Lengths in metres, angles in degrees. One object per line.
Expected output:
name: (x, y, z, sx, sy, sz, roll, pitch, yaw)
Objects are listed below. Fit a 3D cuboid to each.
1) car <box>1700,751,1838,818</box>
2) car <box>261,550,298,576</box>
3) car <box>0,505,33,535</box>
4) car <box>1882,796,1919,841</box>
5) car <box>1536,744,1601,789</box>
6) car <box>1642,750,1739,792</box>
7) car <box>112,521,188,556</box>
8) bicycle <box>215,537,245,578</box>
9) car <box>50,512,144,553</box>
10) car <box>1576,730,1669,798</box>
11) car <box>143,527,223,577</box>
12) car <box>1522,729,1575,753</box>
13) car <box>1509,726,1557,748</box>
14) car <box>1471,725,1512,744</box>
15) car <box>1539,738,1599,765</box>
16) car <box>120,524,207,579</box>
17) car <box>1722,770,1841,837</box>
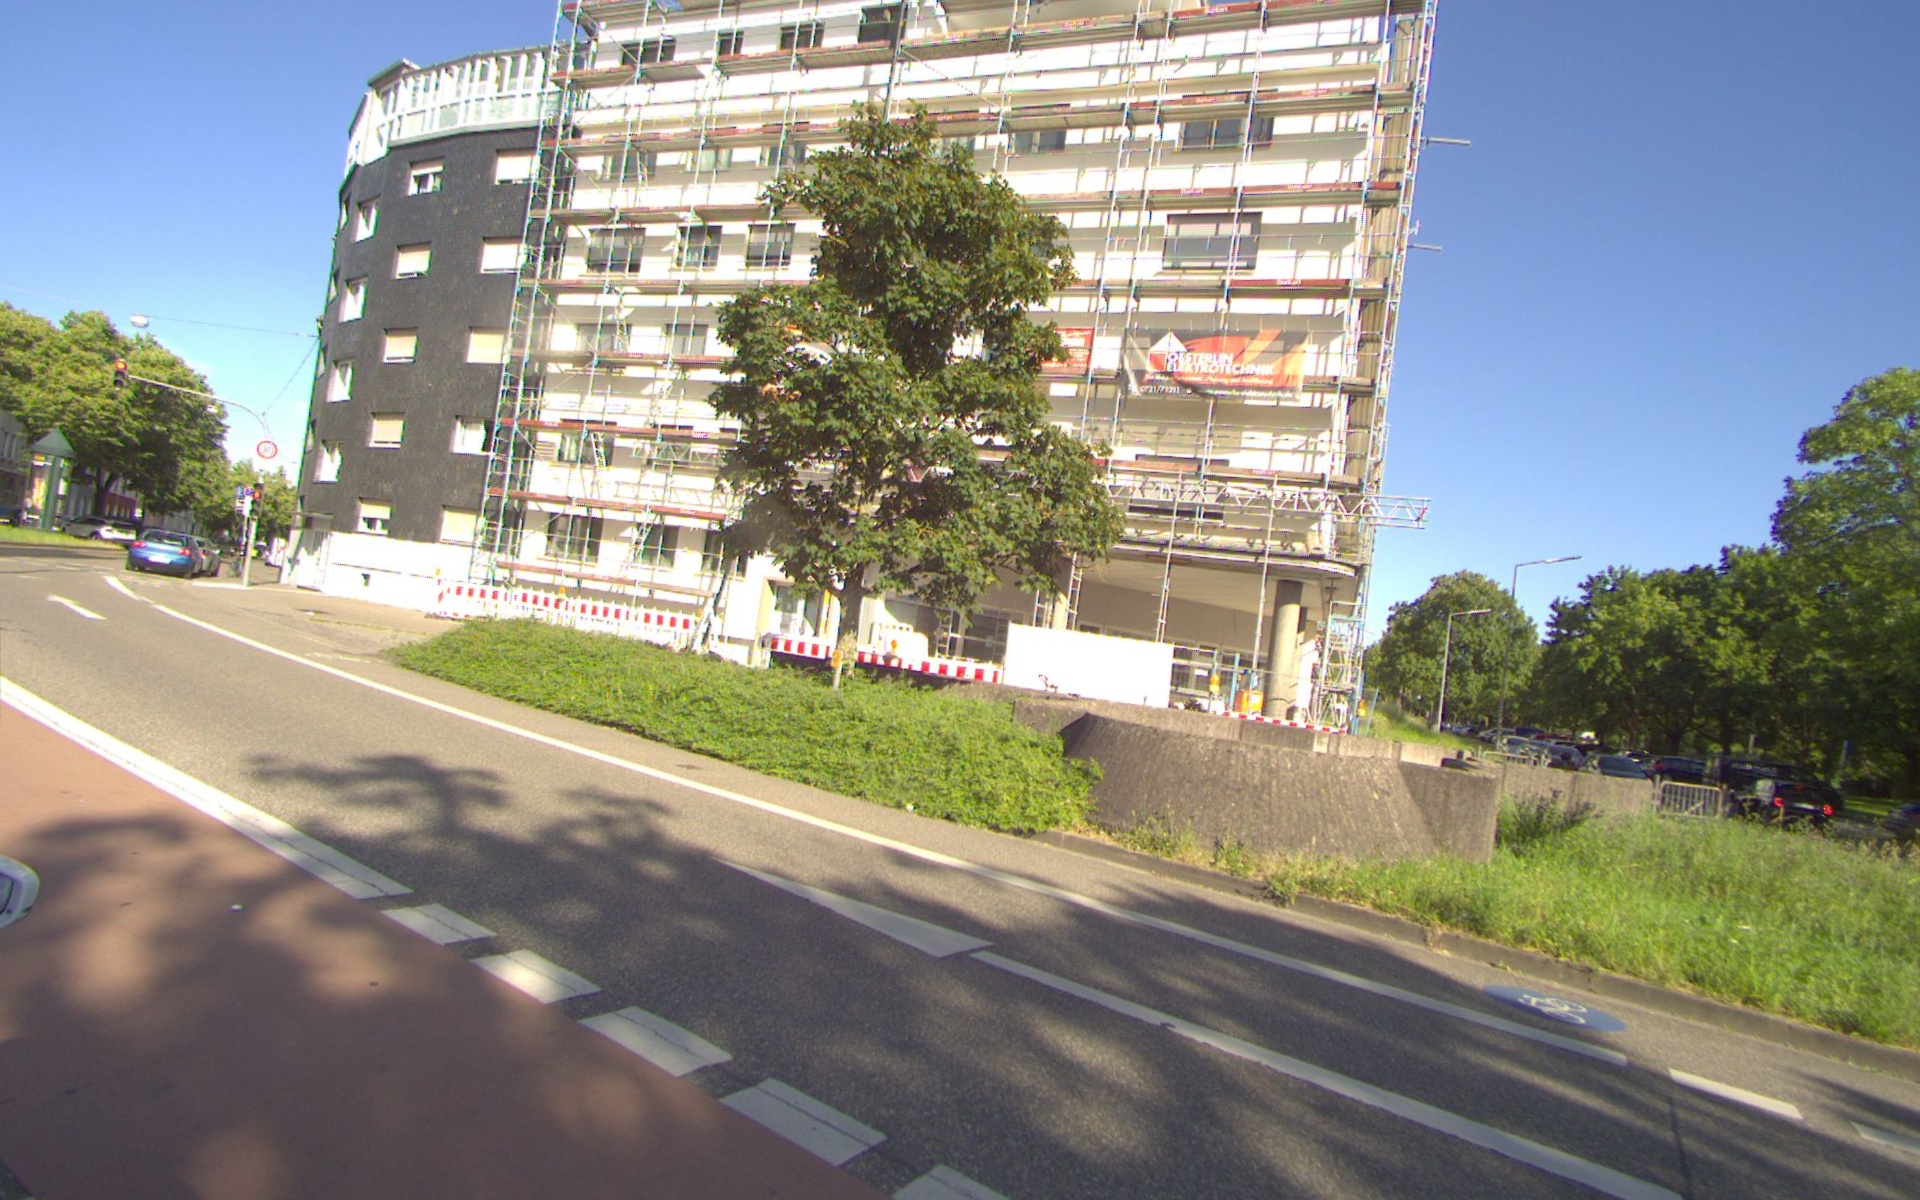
car: (35.871, 8.146, 44.771, 4.276, 2.096, 2.000, 7, -3, 27)
car: (-55.651, -2.994, 82.327, 1.980, 1.634, 3.972, 10, -5, -30)
car: (-56.050, -4.769, 58.560, 1.979, 1.489, 3.972, 10, -3, -29)
car: (32.511, 7.322, 32.274, 3.935, 1.311, 1.999, 5, -5, 32)
car: (28.162, 7.694, 46.675, 1.964, 1.679, 4.006, 6, -5, 24)
car: (40.982, 9.562, 56.544, 3.929, 1.673, 2.002, 6, -4, 25)
car: (-59.554, -4.509, 74.066, 3.766, 1.805, 1.835, 9, -3, -19)
bicycle: (-29.255, -1.703, 40.358, 0.569, 1.528, 2.785, 9, -3, -31)
car: (-49.208, -3.837, 57.359, 3.924, 1.611, 1.914, 8, -2, 12)
car: (24.786, 6.092, 37.780, 1.963, 2.035, 4.004, 7, -3, 22)
car: (-29.420, -1.812, 38.218, 1.808, 1.525, 3.968, 9, -2, -32)
car: (55.517, 13.327, 95.044, 3.927, 1.673, 2.003, 6, -4, 22)
car: (59.523, 14.252, 104.564, 3.927, 1.673, 2.003, 6, -4, 22)
car: (62.317, 15.772, 118.016, 3.927, 1.673, 2.003, 6, -4, 22)
car: (51.886, 12.865, 85.756, 3.927, 1.673, 2.003, 6, -4, 22)
car: (-26.874, -1.639, 34.033, 1.765, 1.458, 3.588, 10, -3, -33)
car: (26.512, 6.519, 32.593, 1.648, 1.519, 3.567, 7, -3, 18)
